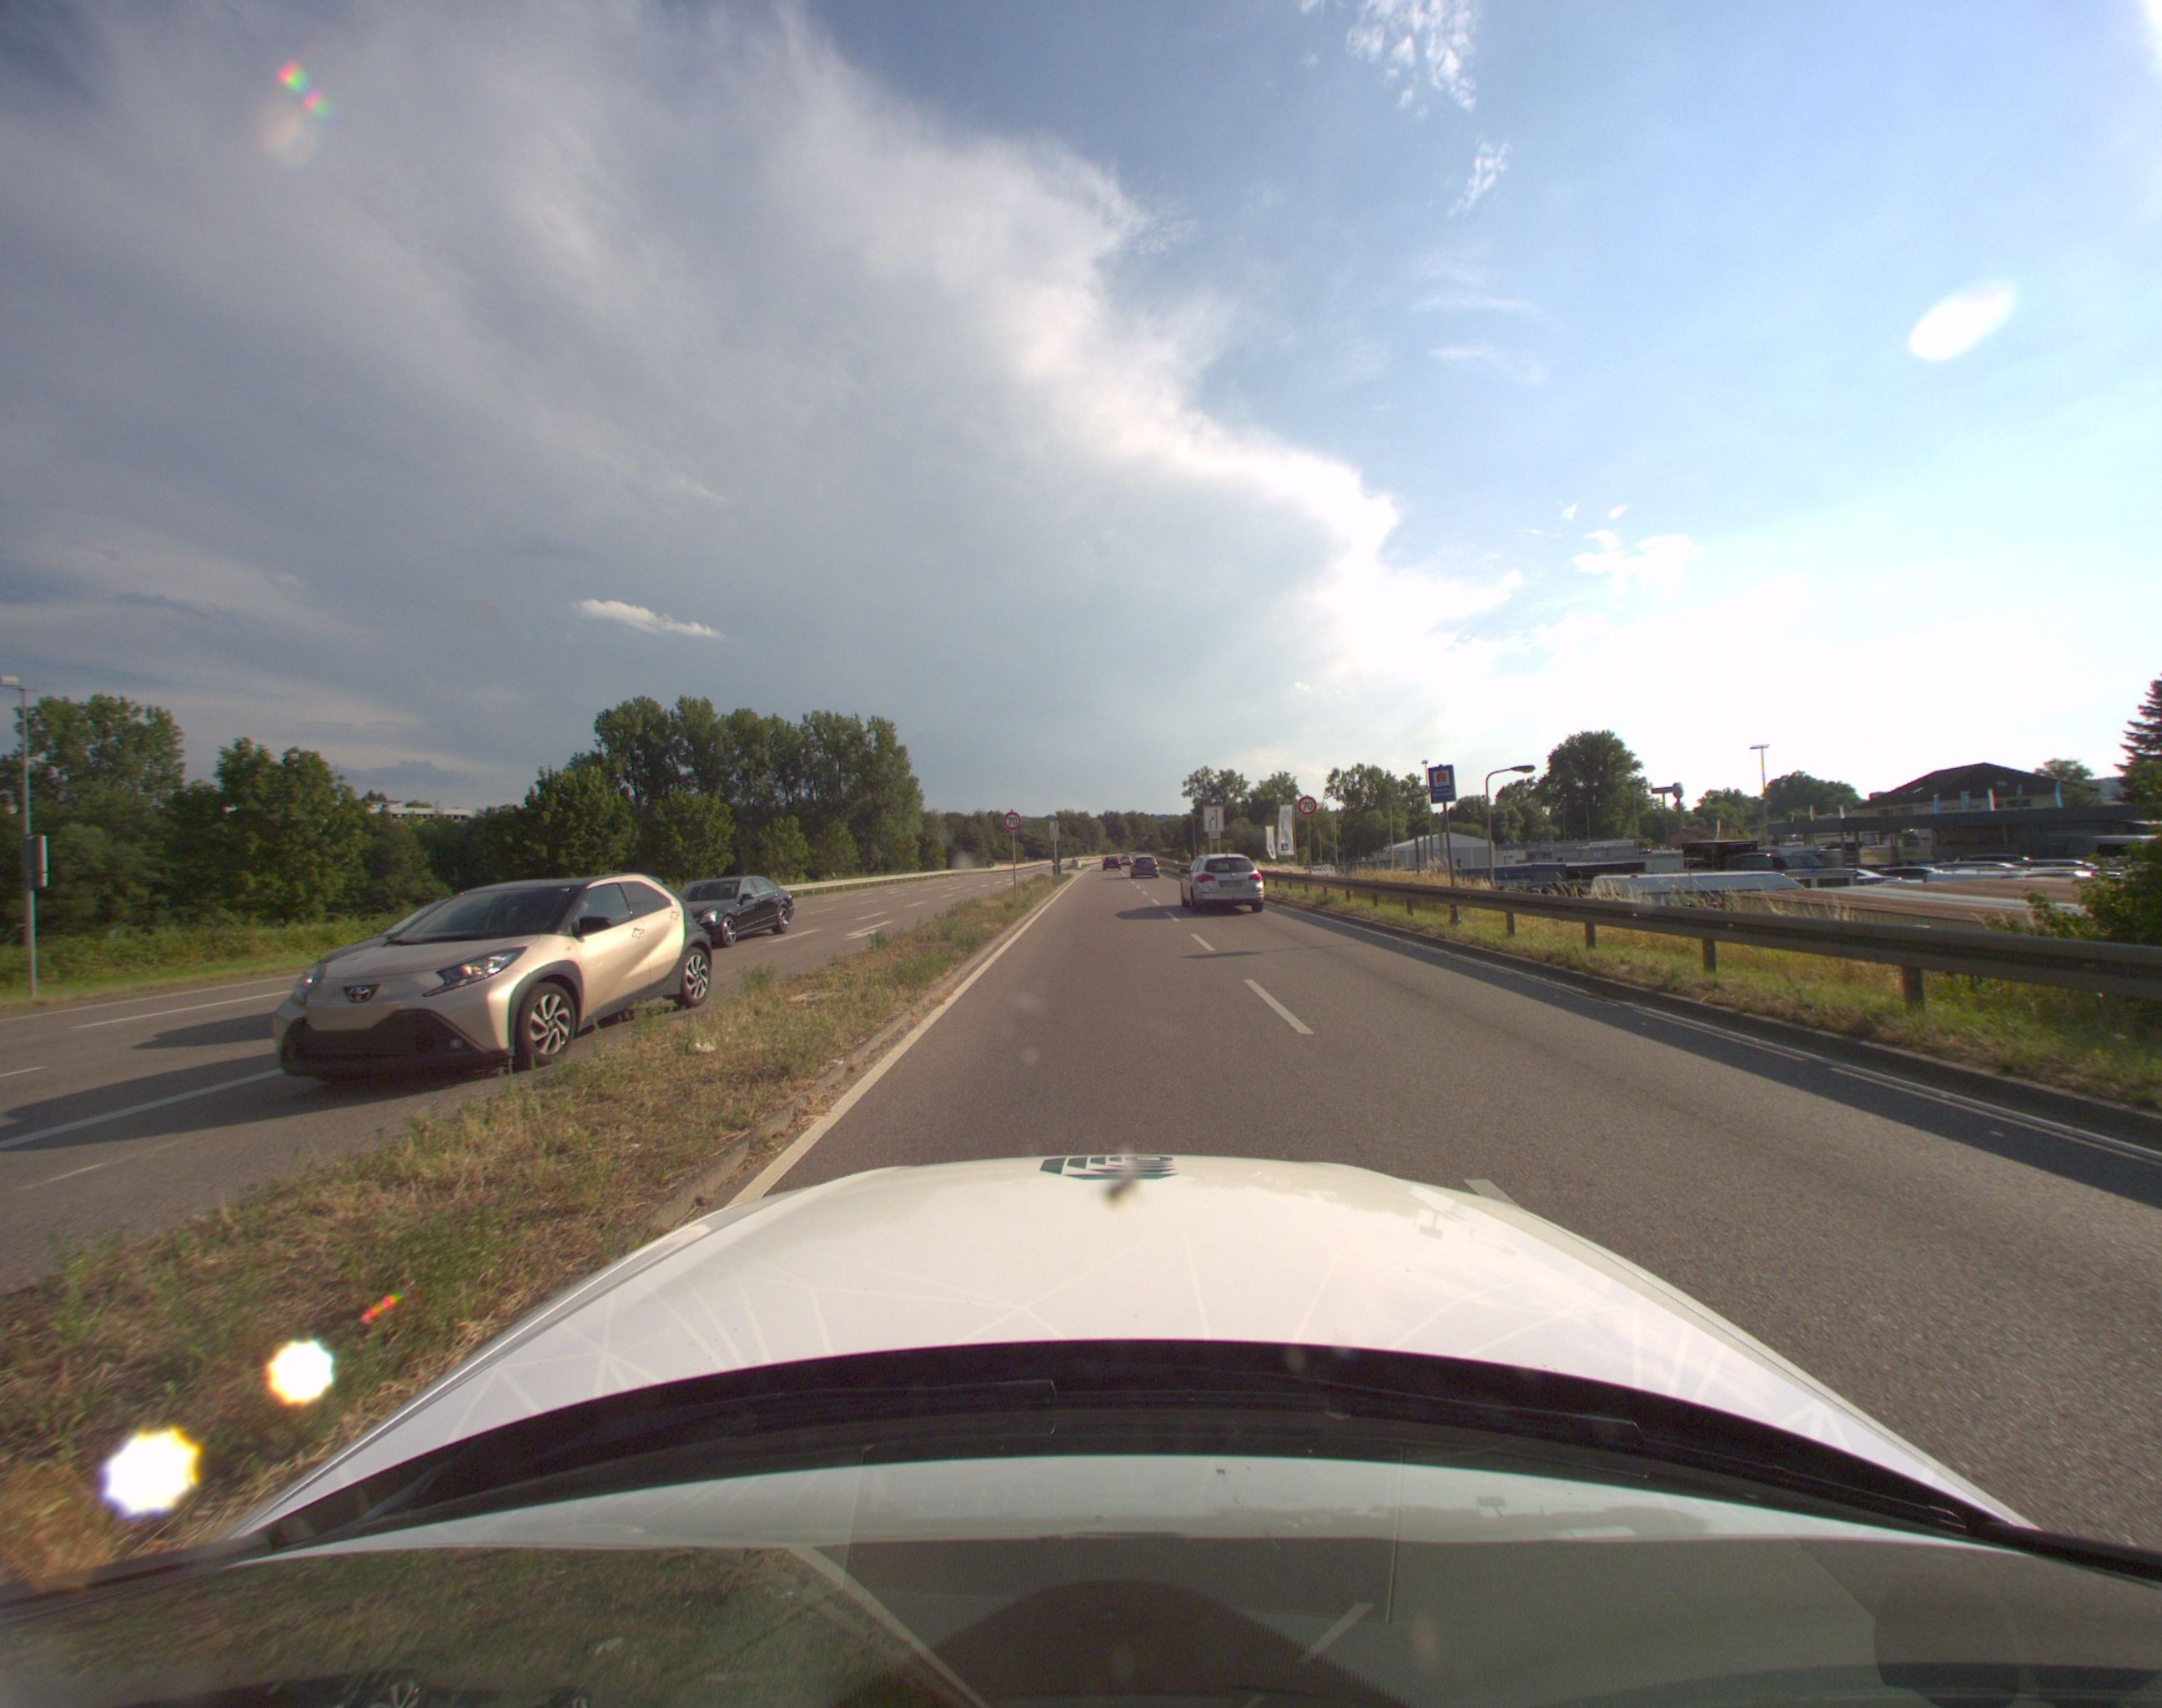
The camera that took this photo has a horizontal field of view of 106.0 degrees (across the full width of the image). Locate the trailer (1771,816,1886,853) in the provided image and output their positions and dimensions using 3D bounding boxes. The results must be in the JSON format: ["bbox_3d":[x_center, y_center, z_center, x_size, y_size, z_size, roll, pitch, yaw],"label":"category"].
[{"bbox_3d":[45.995,-1.139,50.348,1.982,2.022,6.297,-1,-1,8],"label":"trailer"}]

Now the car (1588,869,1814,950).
[{"bbox_3d":[14.799,1.302,19.637,3.969,1.816,1.837,-1,-1,4],"label":"car"}]

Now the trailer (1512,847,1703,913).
[{"bbox_3d":[27.841,1.384,43.463,7.838,3.323,3.364,-1,-1,6],"label":"trailer"}]

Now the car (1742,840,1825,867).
[{"bbox_3d":[43.388,-0.010,50.448,1.785,1.543,4.354,-1,-1,7],"label":"car"}]

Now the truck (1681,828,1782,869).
[{"bbox_3d":[40.627,-0.250,51.076,1.983,2.370,5.979,-1,-1,6],"label":"truck"}]

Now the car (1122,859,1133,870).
[{"bbox_3d":[6.439,1.409,112.608,1.486,1.476,3.361,-1,-1,3],"label":"car"}]

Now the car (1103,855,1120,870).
[{"bbox_3d":[2.991,0.833,79.255,1.486,1.476,3.361,-1,-1,3],"label":"car"}]

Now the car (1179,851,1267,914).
[{"bbox_3d":[3.647,0.726,21.547,1.802,1.486,4.002,-1,-1,3],"label":"car"}]

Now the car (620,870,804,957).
[{"bbox_3d":[-7.886,1.189,17.993,1.709,1.464,4.728,-4,0,2],"label":"car"}]

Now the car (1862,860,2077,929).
[{"bbox_3d":[27.444,1.200,25.446,1.746,1.952,4.835,-1,-1,6],"label":"car"}]

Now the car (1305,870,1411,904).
[{"bbox_3d":[16.909,2.026,49.977,5.853,2.014,2.003,-1,-1,5],"label":"car"}]

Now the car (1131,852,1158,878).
[{"bbox_3d":[4.088,0.727,52.609,1.660,1.574,4.003,0,-1,3],"label":"car"}]

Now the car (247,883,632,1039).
[{"bbox_3d":[-8.177,1.239,11.014,1.696,1.473,4.245,-4,-1,1],"label":"car"}]

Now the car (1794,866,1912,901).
[{"bbox_3d":[37.038,1.407,39.164,1.683,1.570,3.746,0,-1,-23],"label":"car"}]

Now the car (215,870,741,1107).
[{"bbox_3d":[-5.005,0.967,7.615,1.774,1.520,4.001,-4,-1,2],"label":"car"}]
